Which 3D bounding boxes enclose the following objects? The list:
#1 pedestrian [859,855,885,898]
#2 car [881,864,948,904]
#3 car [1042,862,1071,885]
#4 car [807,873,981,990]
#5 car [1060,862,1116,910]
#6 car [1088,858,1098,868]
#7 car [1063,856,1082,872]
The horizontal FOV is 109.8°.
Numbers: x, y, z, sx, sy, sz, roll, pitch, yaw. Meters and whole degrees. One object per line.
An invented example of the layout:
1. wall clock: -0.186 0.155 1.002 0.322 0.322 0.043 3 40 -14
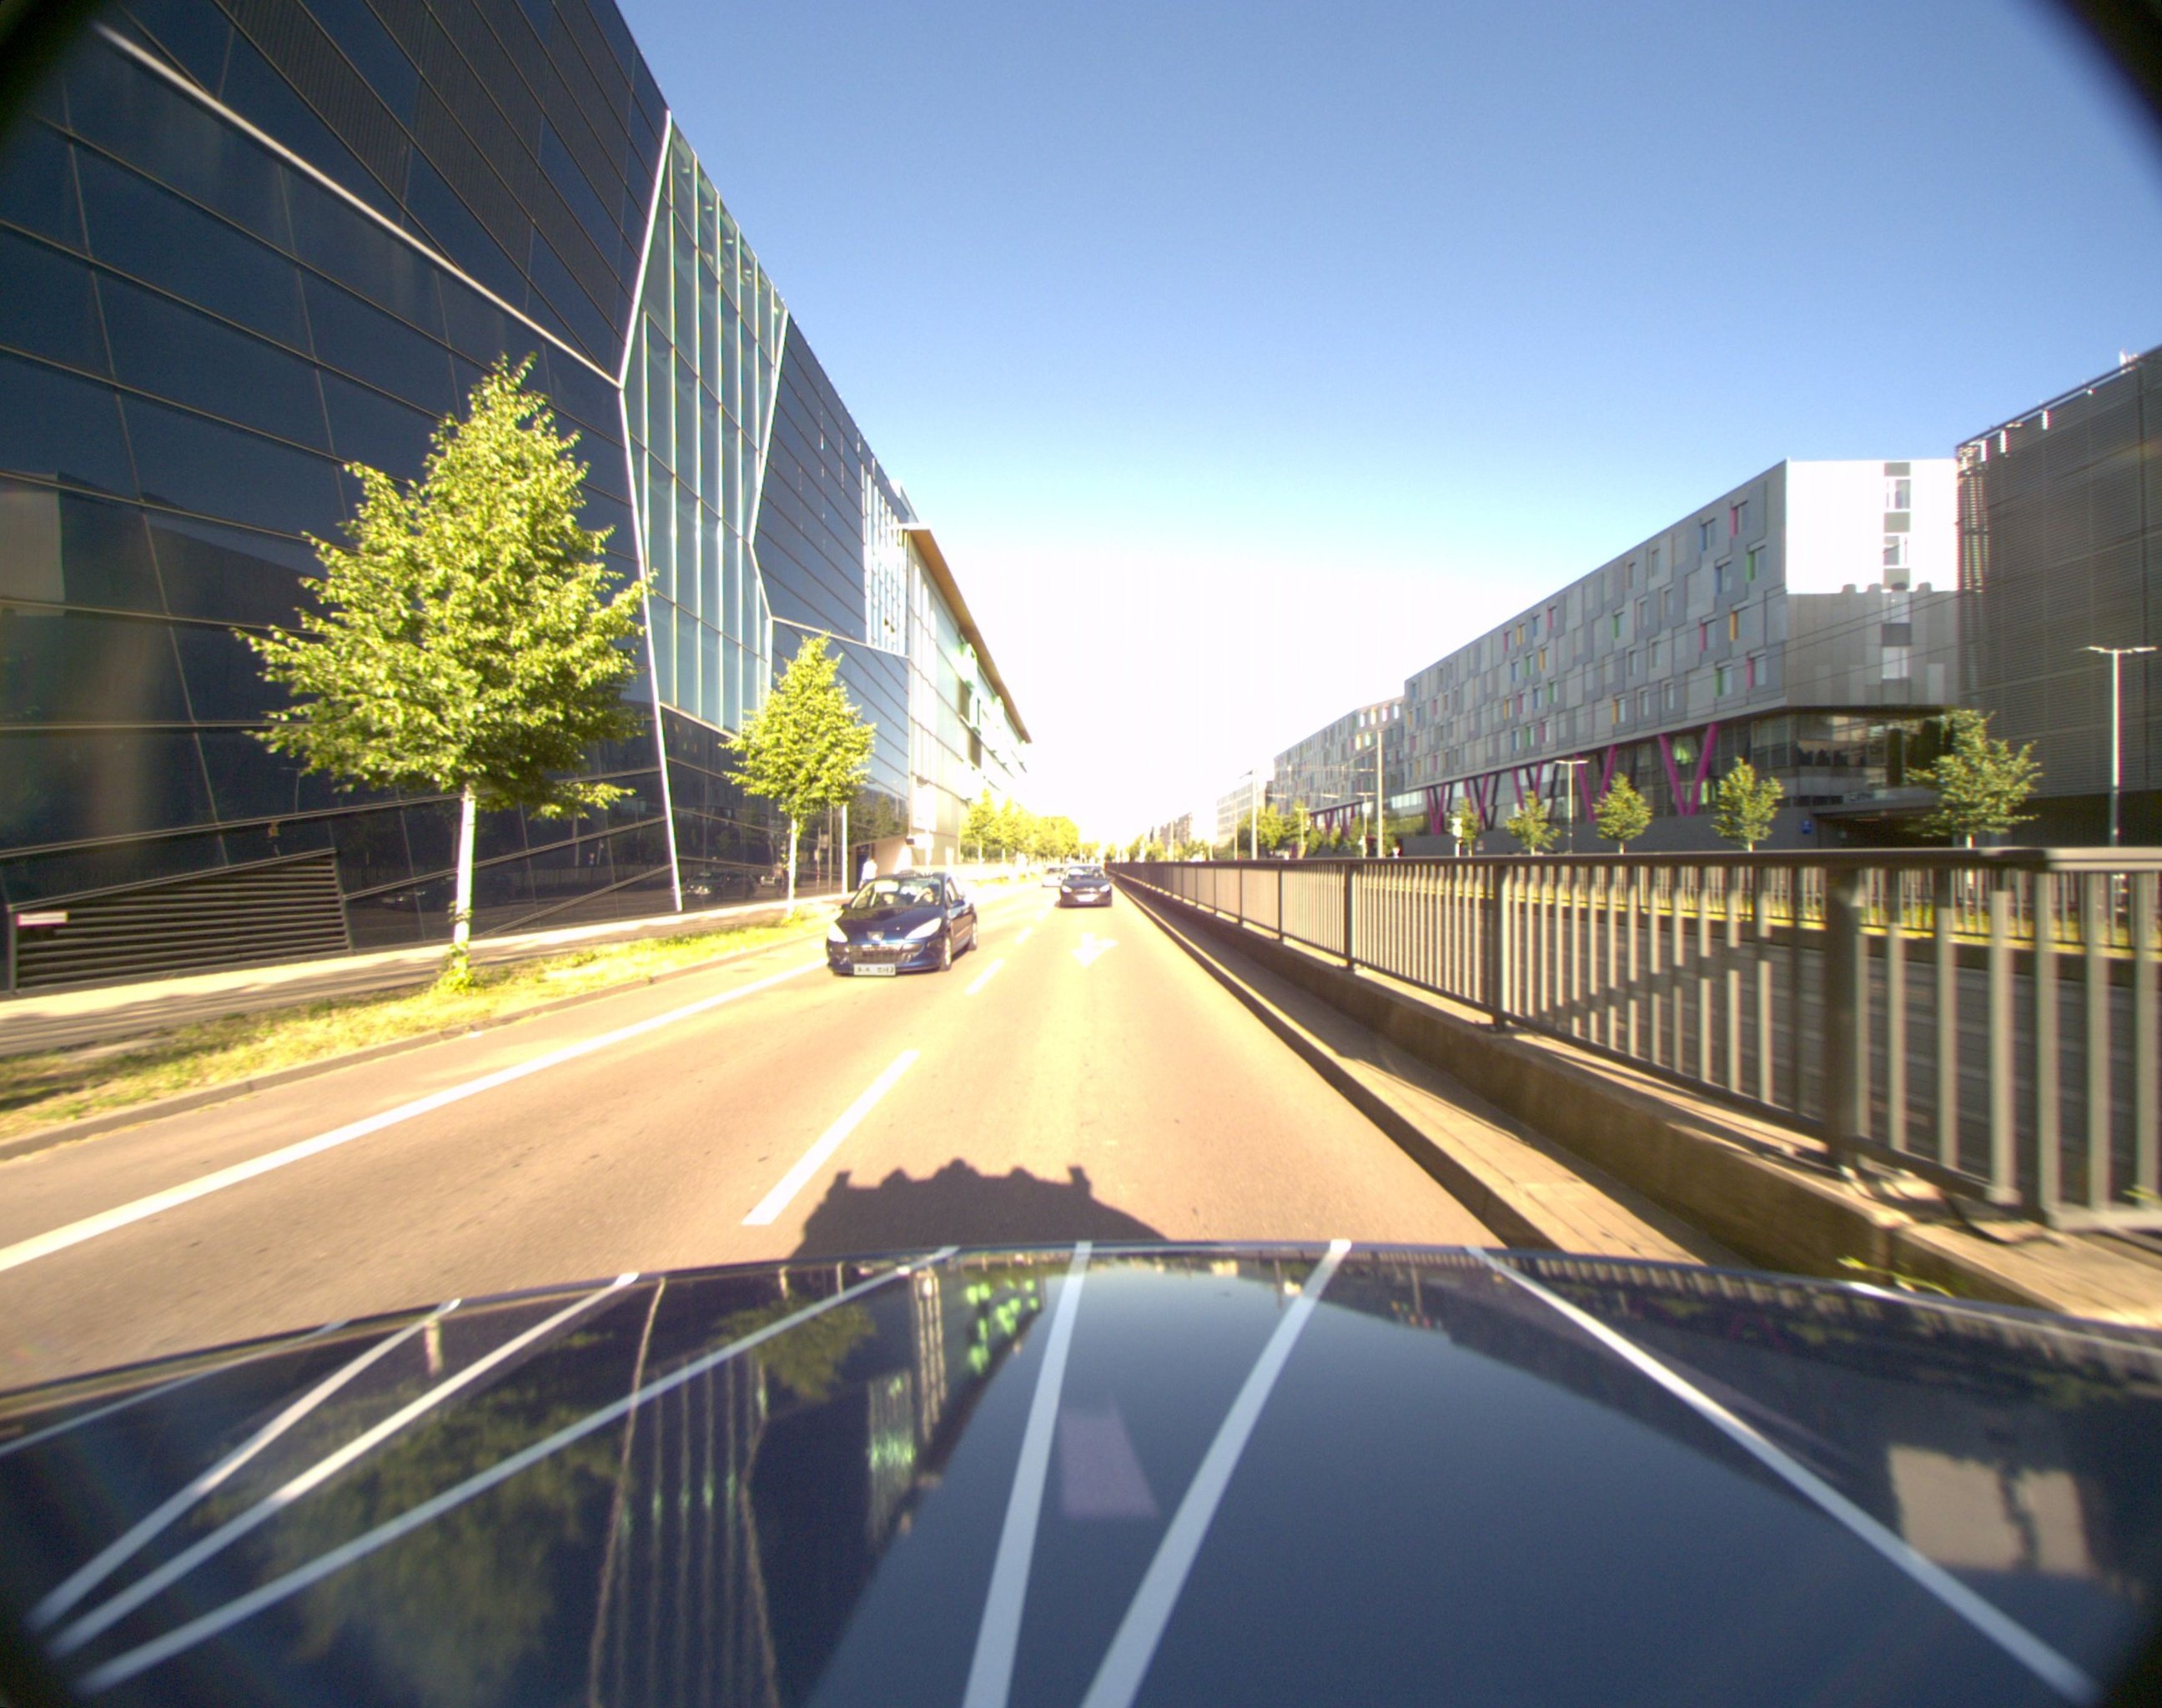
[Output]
1. pedestrian: -9.171 0.977 33.370 0.828 1.814 0.905 3 0 1
2. car: -6.964 1.203 32.252 1.740 1.489 4.715 1 0 1
3. car: -1.618 1.280 51.032 1.753 1.469 3.418 -2 0 1
4. car: -2.815 1.109 12.346 1.753 1.469 3.972 -2 0 1
5. car: 0.254 1.058 27.106 1.787 1.499 4.590 -2 0 1
6. car: 2.640 1.878 163.170 1.998 2.002 4.000 -2 1 1
7. car: -0.864 1.049 80.015 1.907 1.612 4.000 -1 0 1
